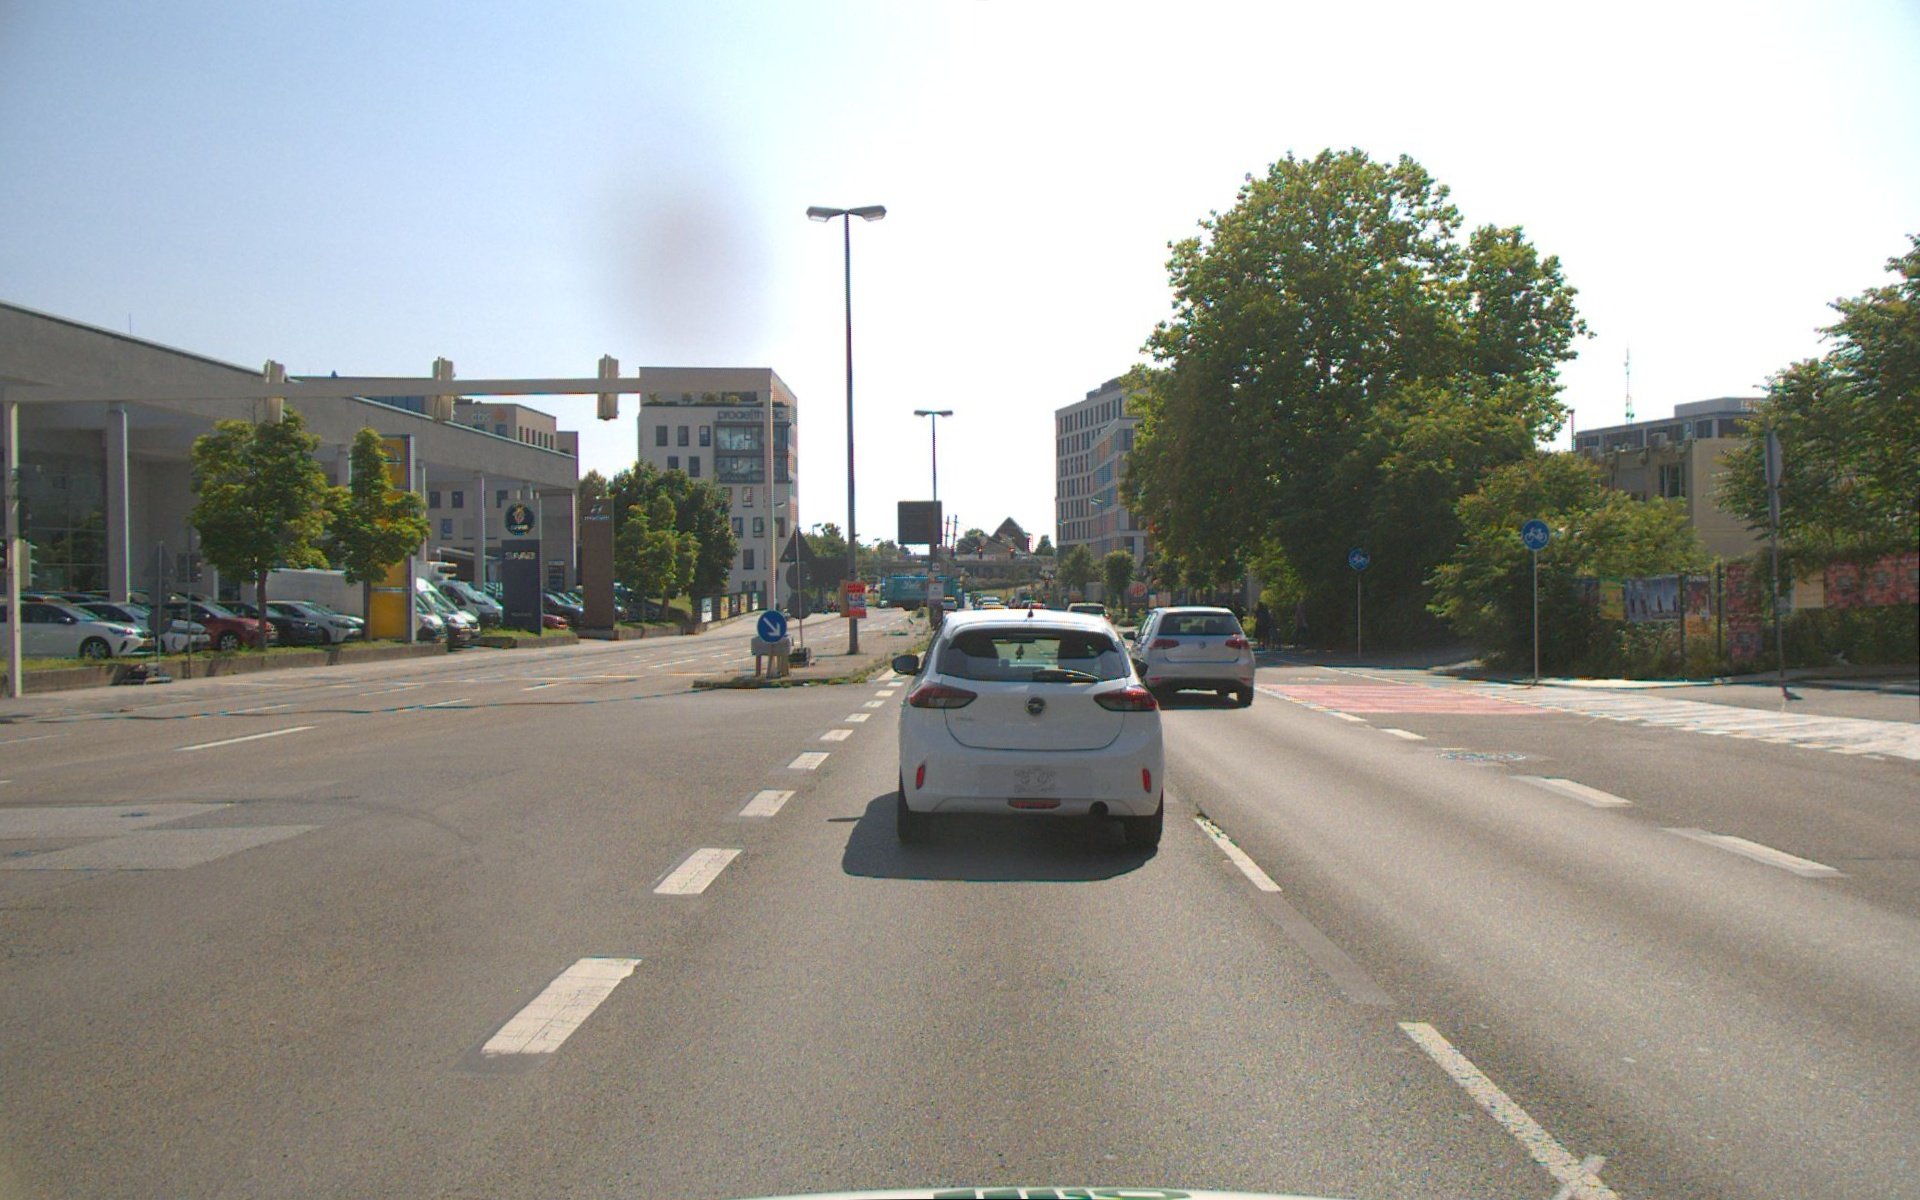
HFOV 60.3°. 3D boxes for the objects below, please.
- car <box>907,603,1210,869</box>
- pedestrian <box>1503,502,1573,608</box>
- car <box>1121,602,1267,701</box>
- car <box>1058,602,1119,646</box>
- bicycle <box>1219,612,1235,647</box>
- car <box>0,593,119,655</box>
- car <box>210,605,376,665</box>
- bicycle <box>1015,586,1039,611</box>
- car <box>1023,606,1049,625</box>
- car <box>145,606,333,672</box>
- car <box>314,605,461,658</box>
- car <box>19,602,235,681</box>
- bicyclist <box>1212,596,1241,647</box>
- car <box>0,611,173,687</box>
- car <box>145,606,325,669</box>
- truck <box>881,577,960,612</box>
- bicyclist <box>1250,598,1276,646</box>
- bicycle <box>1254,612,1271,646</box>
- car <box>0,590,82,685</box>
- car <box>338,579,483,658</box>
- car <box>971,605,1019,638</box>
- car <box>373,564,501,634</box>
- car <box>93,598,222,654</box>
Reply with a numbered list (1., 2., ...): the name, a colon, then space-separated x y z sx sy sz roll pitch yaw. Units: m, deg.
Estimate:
1. car: 0.580 0.796 11.632 1.743 1.520 4.000 -1 0 0
2. pedestrian: 11.460 -0.877 32.819 1.006 2.049 1.038 -1 0 0
3. car: 3.670 0.788 26.577 1.770 1.454 4.000 -1 -1 0
4. car: 4.845 0.875 62.778 1.953 1.578 4.433 -1 0 0
5. bicycle: 9.502 1.034 58.905 0.365 1.238 1.154 1 0 0
6. car: -31.565 0.819 57.175 3.908 2.049 1.998 1 -1 -4
7. car: -20.470 1.051 50.874 4.269 1.726 1.999 -1 0 -2
8. bicycle: 5.963 -0.103 146.675 1.953 2.195 4.000 -1 0 0
9. car: 5.813 1.164 126.468 1.769 1.410 4.000 1 -1 0
10. car: -19.750 1.048 45.436 4.269 1.726 1.999 0 0 -2
11. car: -19.572 1.059 56.632 4.264 1.726 2.001 -1 0 5
12. car: -20.226 0.979 40.302 4.210 1.796 1.999 -1 0 -2
13. bicyclist: 9.492 0.764 58.903 0.861 1.803 0.864 -1 0 0
14. car: -20.343 1.098 37.662 3.911 1.627 1.997 -1 0 -7
15. car: -20.836 1.060 47.666 4.269 1.726 1.999 -1 0 -2
16. truck: -4.607 -0.653 194.584 8.974 3.902 3.047 -1 0 -32
17. bicyclist: 10.668 0.781 58.312 0.675 1.672 0.775 -1 0 -8
18. bicycle: 10.647 1.022 58.260 0.366 1.167 1.034 1 -1 -2
19. car: -20.212 0.767 33.484 3.792 1.870 1.999 -1 0 -2
20. car: -19.595 0.658 59.084 4.401 2.731 2.130 -1 0 9
21. car: 1.560 0.973 75.246 1.953 1.472 4.369 0 0 -2
22. car: -20.336 -0.027 64.406 4.264 2.646 2.001 -1 0 5
23. car: -30.613 1.003 63.171 3.908 2.049 1.998 1 -1 -4
